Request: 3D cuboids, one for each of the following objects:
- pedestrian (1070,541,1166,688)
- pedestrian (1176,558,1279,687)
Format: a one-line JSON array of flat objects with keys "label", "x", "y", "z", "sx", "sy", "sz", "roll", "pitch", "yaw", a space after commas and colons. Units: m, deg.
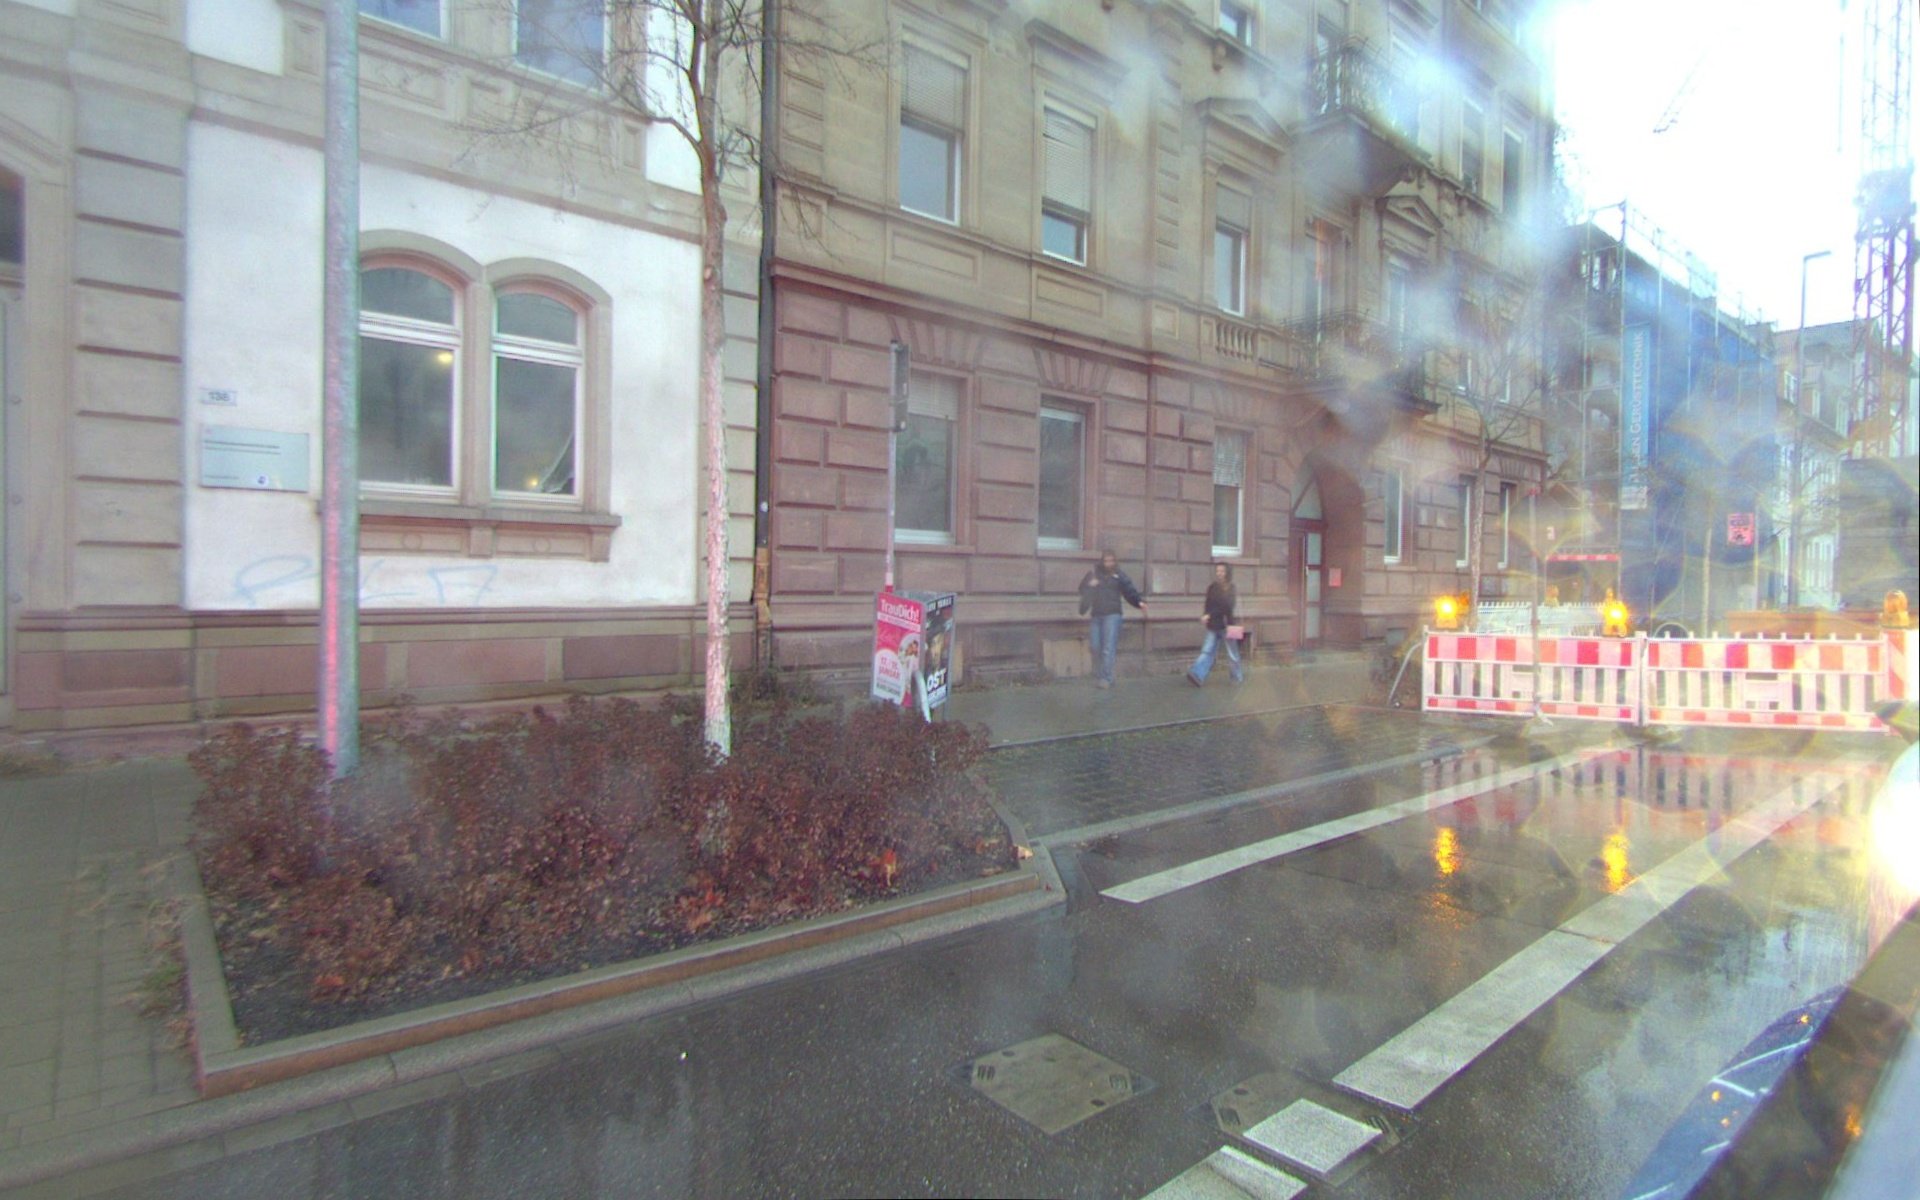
[{"label": "pedestrian", "x": 1.891, "y": 0.150, "z": 12.144, "sx": 0.694, "sy": 1.693, "sz": 0.870, "roll": 0, "pitch": 1, "yaw": -37}, {"label": "pedestrian", "x": 3.403, "y": 0.258, "z": 12.874, "sx": 0.913, "sy": 1.564, "sz": 0.870, "roll": 0, "pitch": 2, "yaw": -40}]
